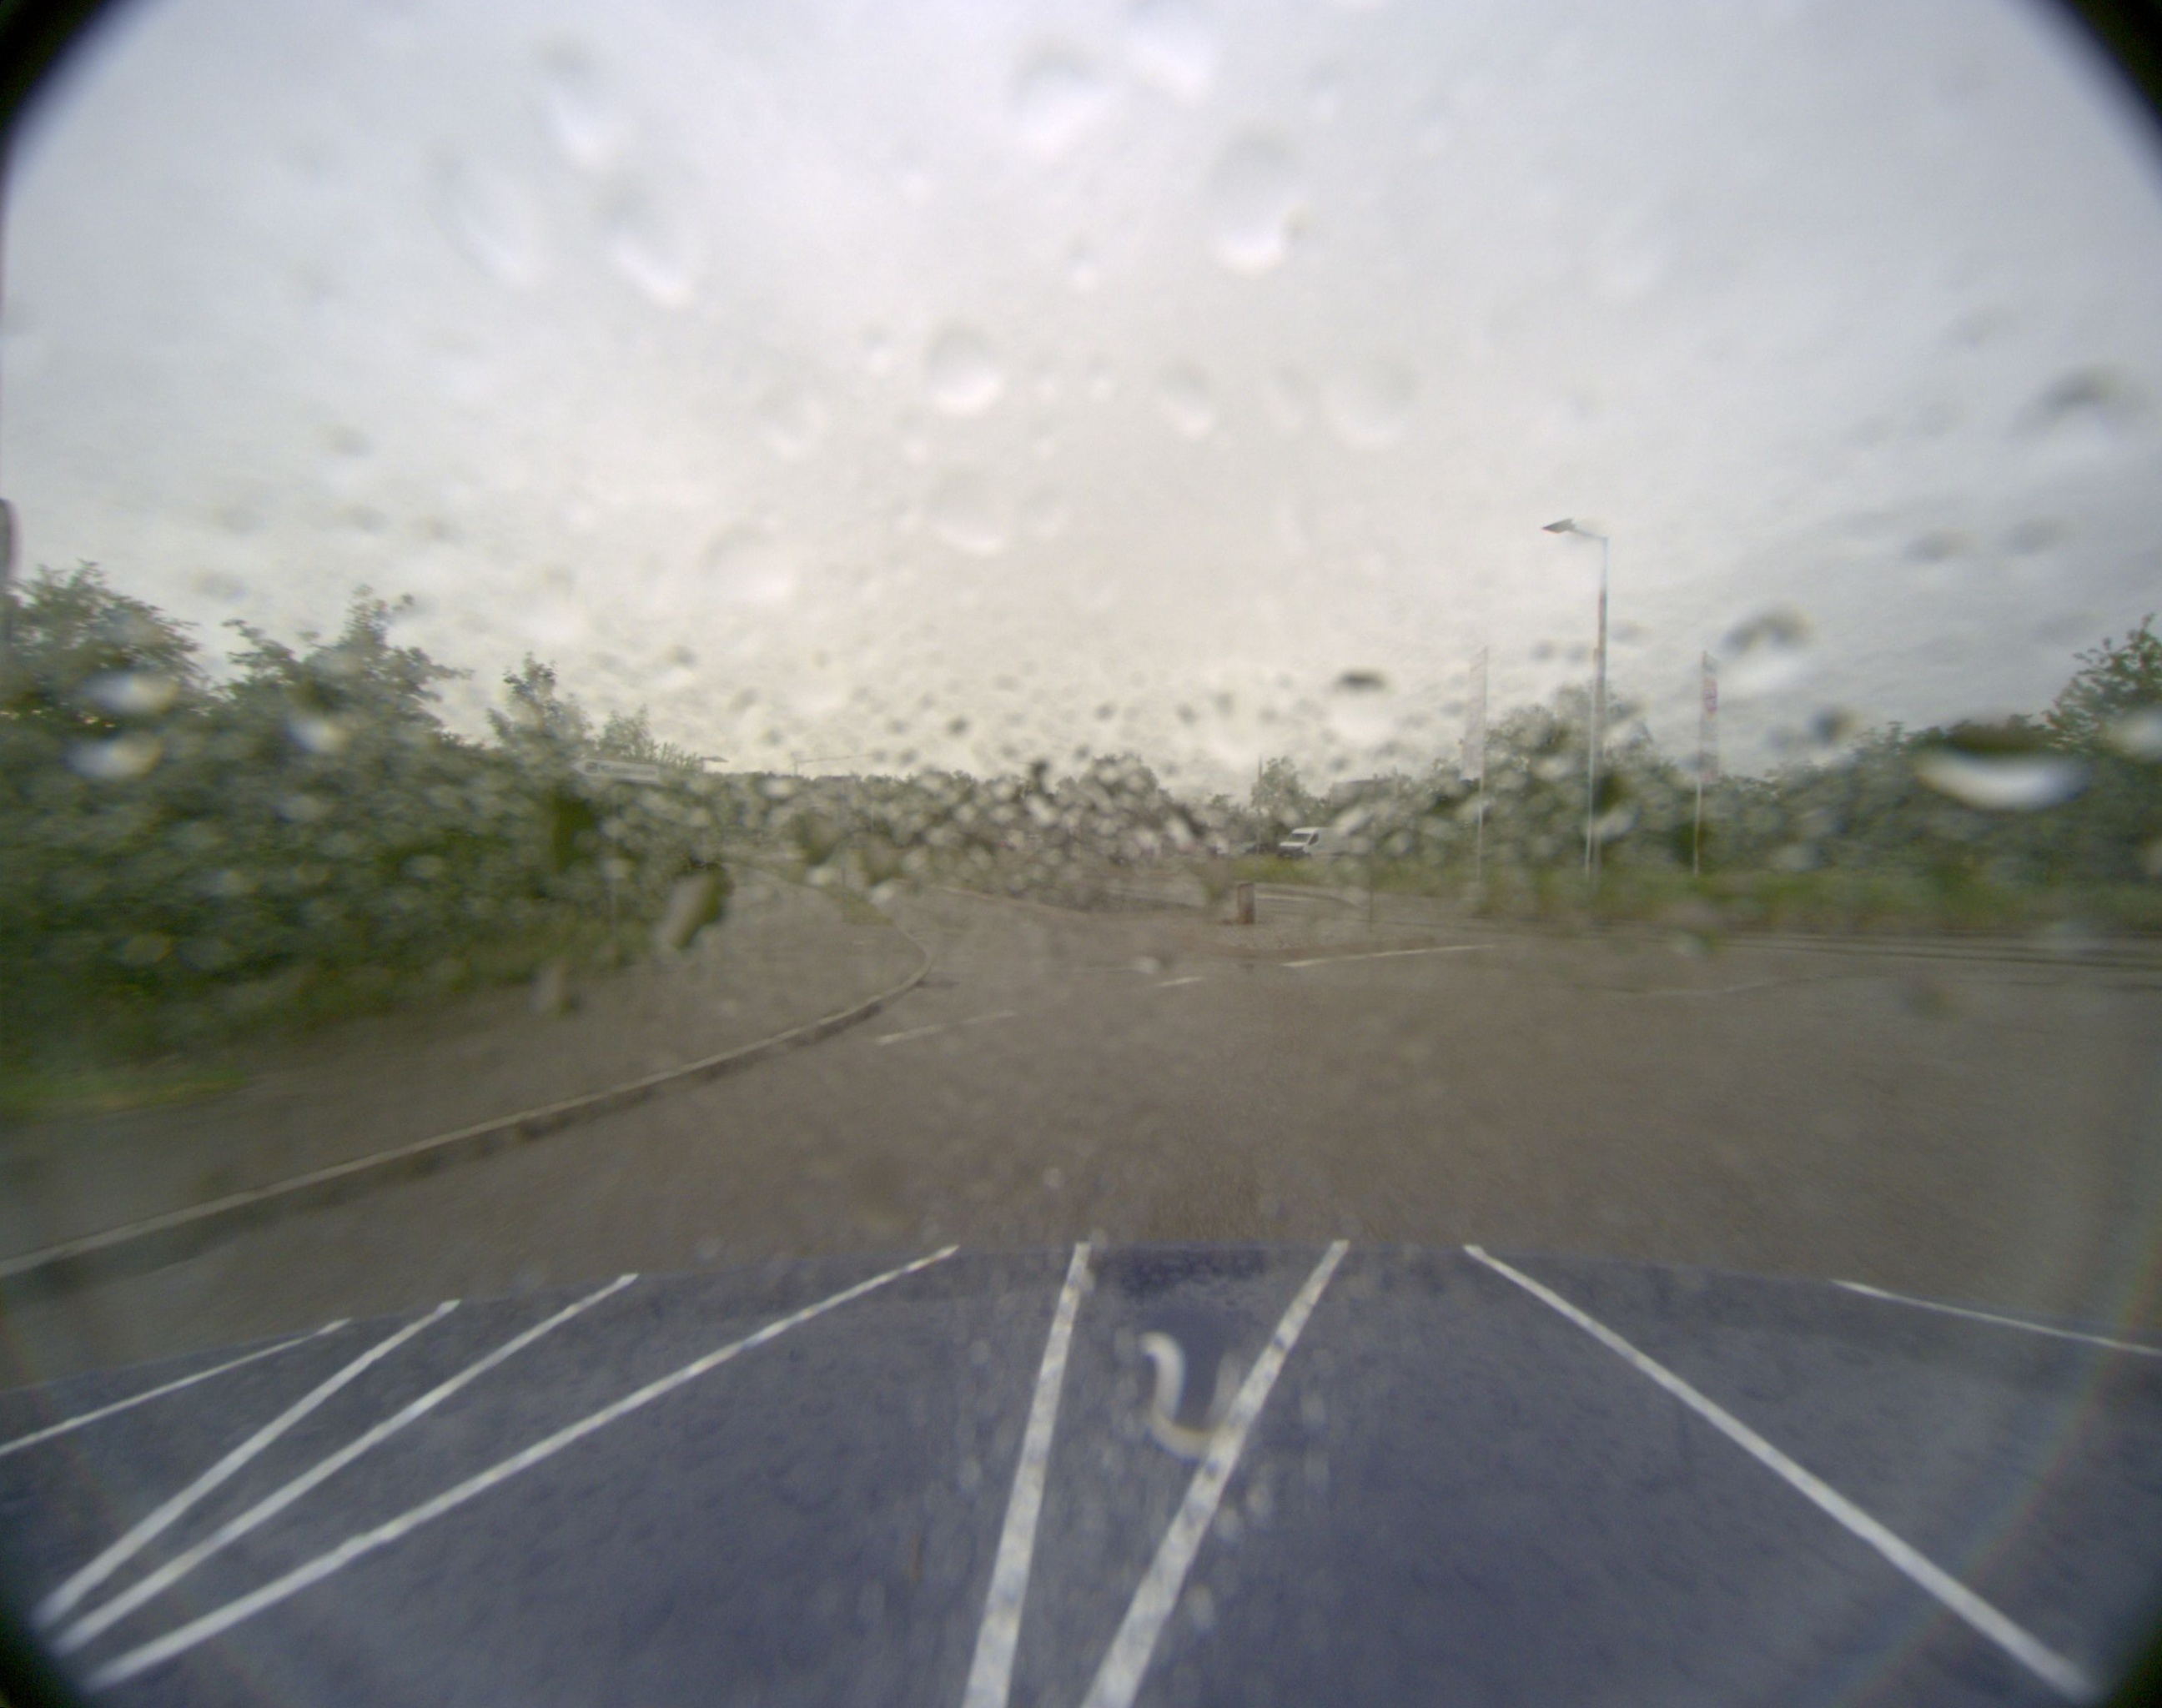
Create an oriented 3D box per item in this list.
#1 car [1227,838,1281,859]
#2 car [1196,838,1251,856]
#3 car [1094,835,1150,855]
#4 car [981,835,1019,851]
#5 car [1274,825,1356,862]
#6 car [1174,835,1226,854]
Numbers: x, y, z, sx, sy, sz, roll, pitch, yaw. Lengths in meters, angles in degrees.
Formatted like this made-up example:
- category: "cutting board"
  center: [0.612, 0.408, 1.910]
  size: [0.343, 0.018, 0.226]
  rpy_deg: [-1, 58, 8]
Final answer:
- category: "car"
  center: [12.956, -0.464, 56.826]
  size: [4.006, 1.357, 1.648]
  rpy_deg: [-4, 4, -34]
- category: "car"
  center: [11.036, -0.515, 58.730]
  size: [4.007, 1.356, 1.842]
  rpy_deg: [0, 1, -34]
- category: "car"
  center: [3.684, -0.858, 67.804]
  size: [4.730, 1.684, 1.999]
  rpy_deg: [-1, 2, -36]
- category: "car"
  center: [-8.186, -1.098, 76.548]
  size: [1.699, 1.560, 4.529]
  rpy_deg: [-4, 2, -36]
- category: "car"
  center: [16.479, -0.817, 53.303]
  size: [6.589, 2.384, 2.132]
  rpy_deg: [-2, 4, -39]
- category: "car"
  center: [9.664, -0.774, 61.866]
  size: [4.007, 1.461, 1.842]
  rpy_deg: [0, 2, -35]
